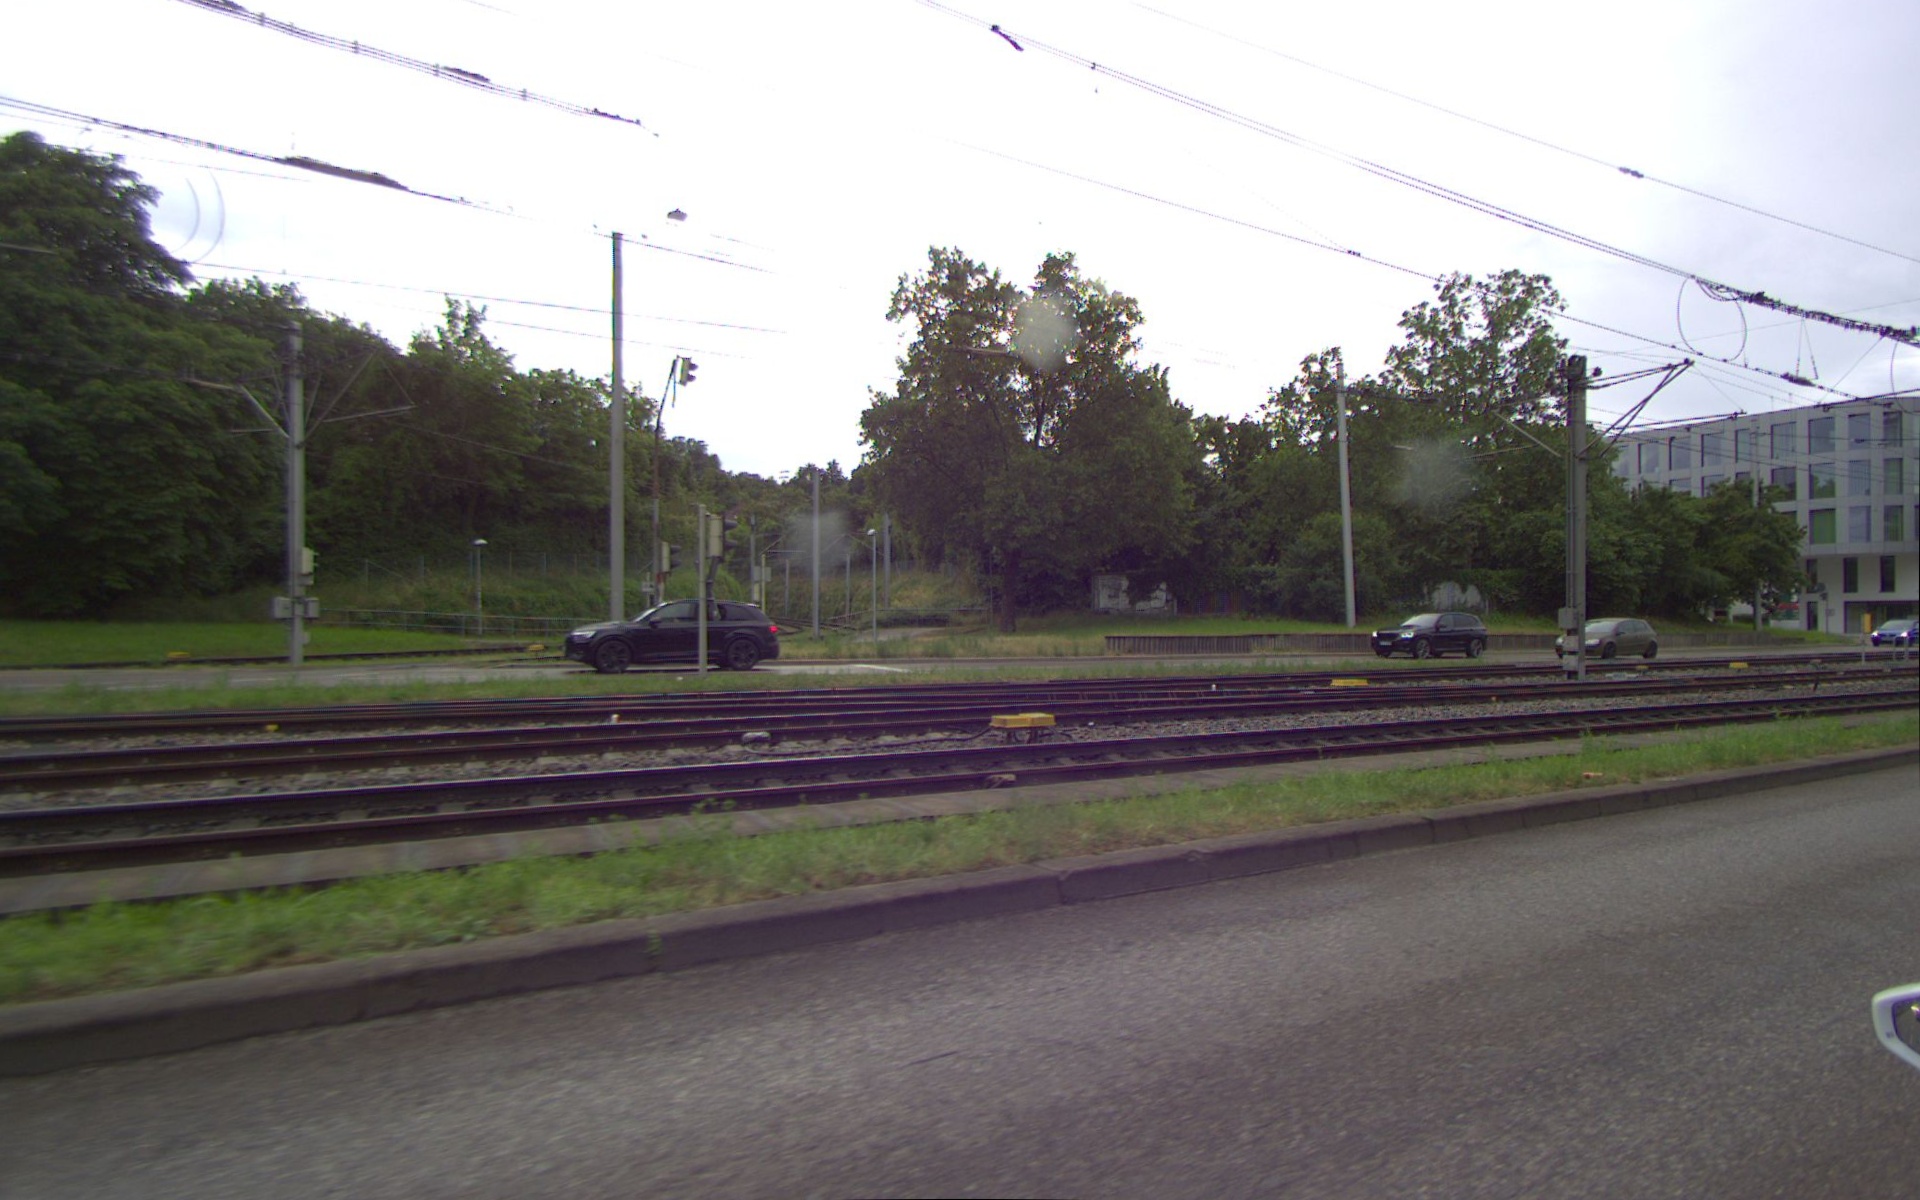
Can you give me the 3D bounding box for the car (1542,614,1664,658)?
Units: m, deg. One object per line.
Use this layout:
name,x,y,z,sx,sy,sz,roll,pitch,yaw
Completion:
car,23.227,1.265,36.254,4.254,1.506,1.884,1,-1,-28

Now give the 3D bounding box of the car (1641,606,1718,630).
car,50.289,1.254,70.271,1.904,1.472,3.897,1,2,-32

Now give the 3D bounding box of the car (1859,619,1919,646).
car,51.289,1.757,55.076,3.851,1.416,1.754,1,-1,-28

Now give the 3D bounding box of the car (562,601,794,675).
car,-6.749,0.881,24.168,5.092,1.610,2.082,1,-1,-27

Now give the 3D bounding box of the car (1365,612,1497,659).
car,17.082,1.262,36.413,4.788,1.616,1.939,1,-1,-29
